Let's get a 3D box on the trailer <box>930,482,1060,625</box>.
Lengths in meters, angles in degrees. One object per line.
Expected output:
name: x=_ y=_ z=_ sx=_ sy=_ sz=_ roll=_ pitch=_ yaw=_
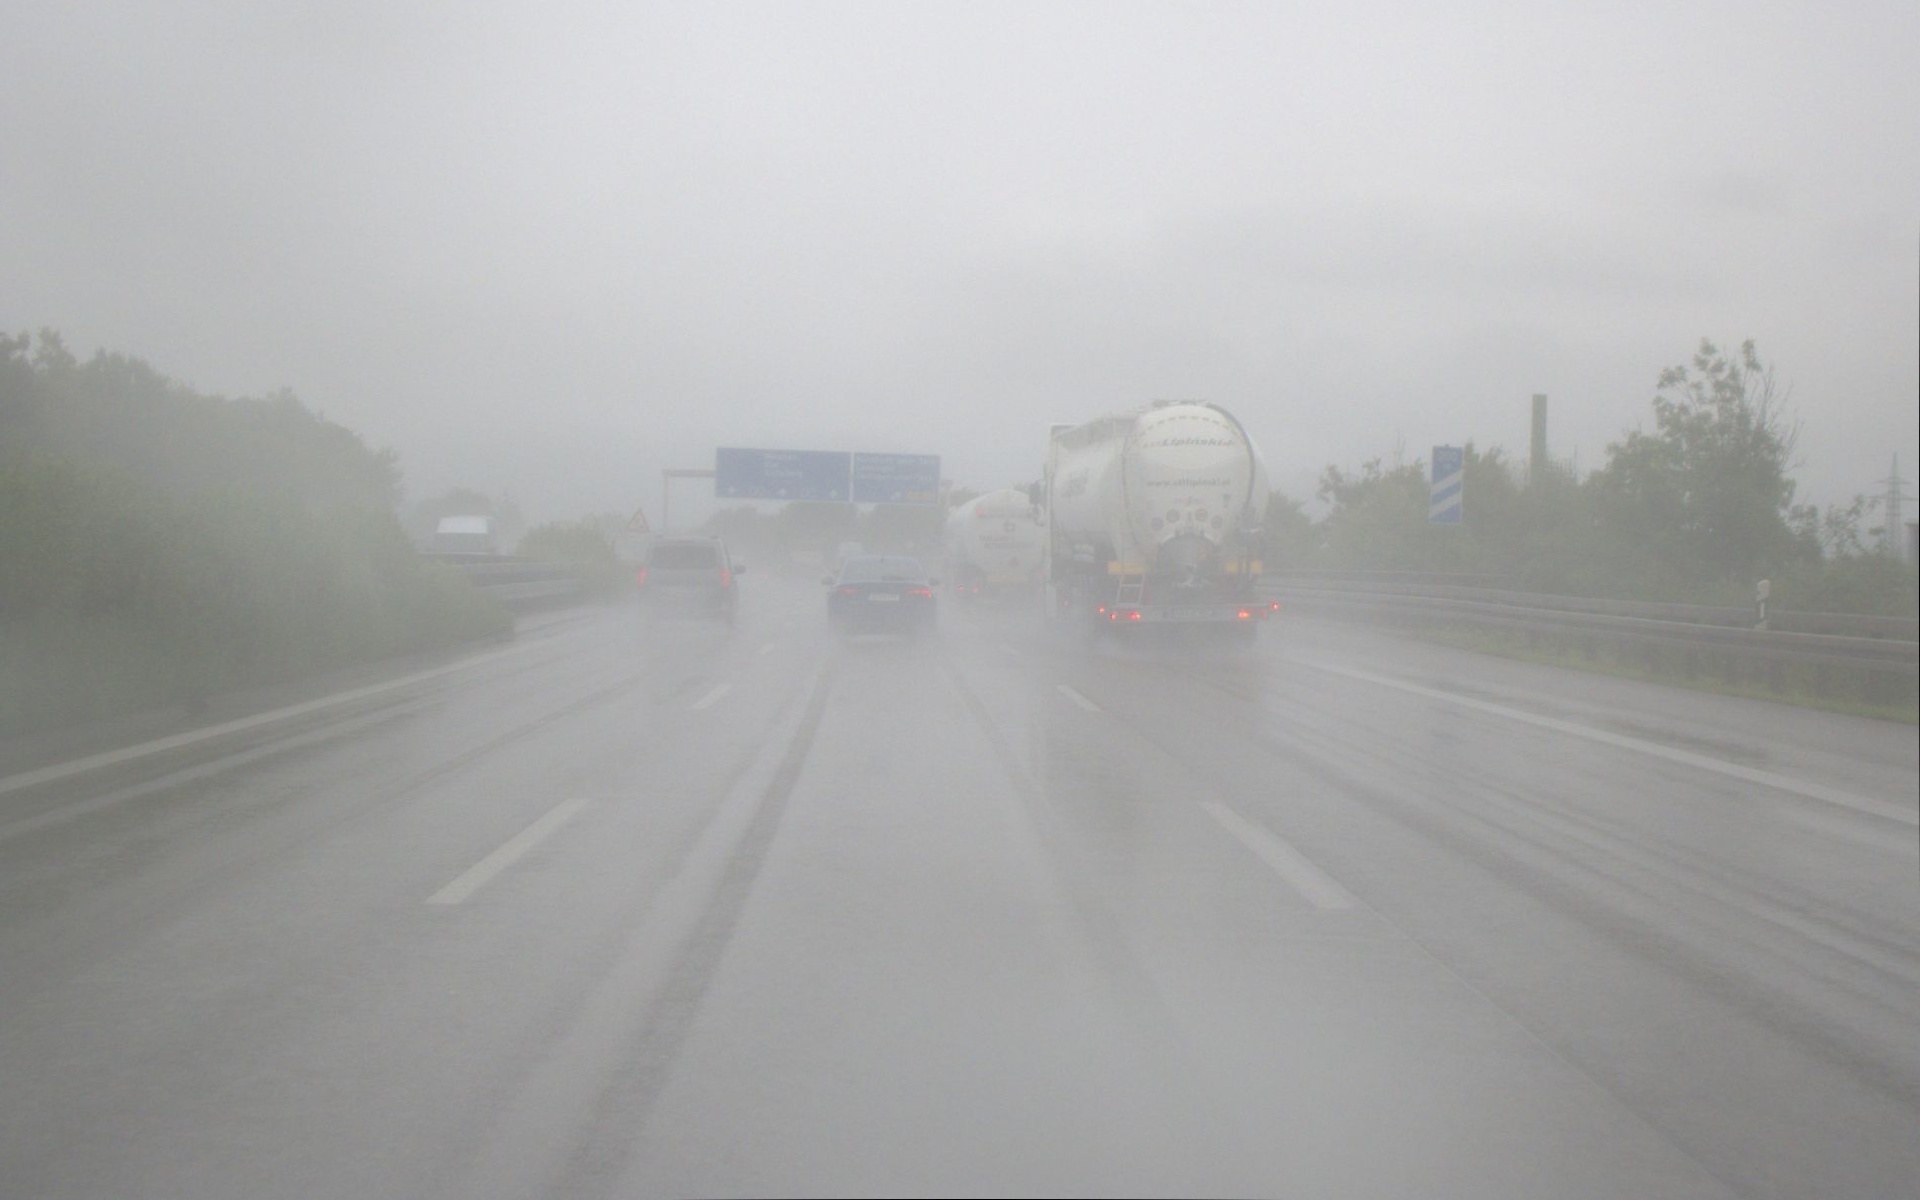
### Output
trailer: x=0.915 y=-1.351 z=98.239 sx=3.004 sy=3.834 sz=8.625 roll=1 pitch=1 yaw=-4

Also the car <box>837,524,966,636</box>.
car: x=-0.918 y=-0.357 z=56.525 sx=1.978 sy=1.750 sz=4.481 roll=0 pitch=1 yaw=1

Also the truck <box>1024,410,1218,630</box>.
truck: x=2.874 y=-1.455 z=63.543 sx=3.104 sy=3.793 sz=7.213 roll=1 pitch=1 yaw=-1

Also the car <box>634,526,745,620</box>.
car: x=-5.190 y=-0.548 z=66.451 sx=1.925 sy=1.735 sz=4.404 roll=1 pitch=1 yaw=-2

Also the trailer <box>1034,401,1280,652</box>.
trailer: x=3.023 y=-1.198 z=56.354 sx=3.188 sy=3.657 sz=11.667 roll=0 pitch=1 yaw=-1
